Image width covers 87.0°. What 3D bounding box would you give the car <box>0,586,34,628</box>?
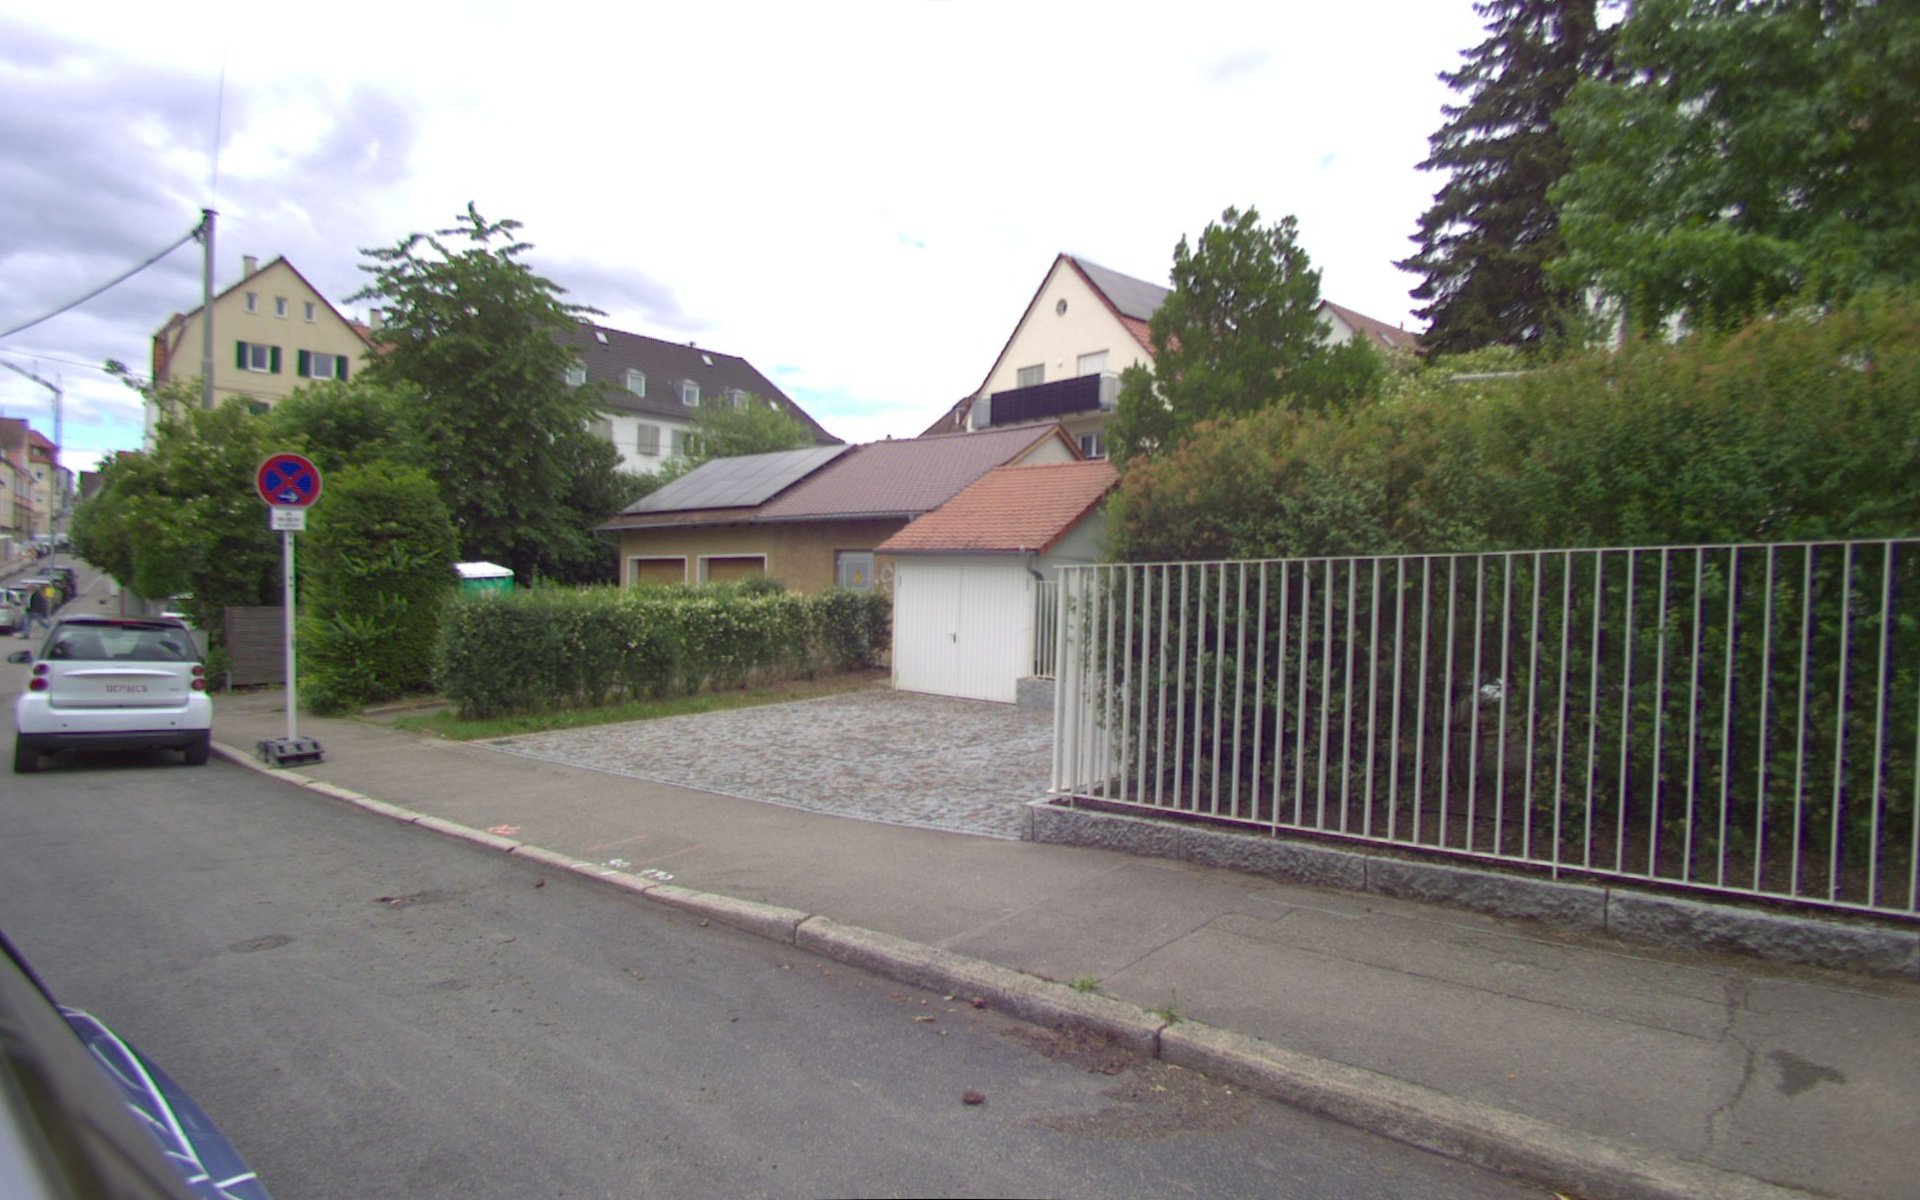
[{"bbox_3d":[-37.673,0.237,39.740,1.586,1.464,3.621,4,-1,-38],"label":"car"}]

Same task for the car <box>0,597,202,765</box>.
[{"bbox_3d":[-9.330,0.820,10.979,1.425,1.564,2.772,5,-4,-42],"label":"car"}]

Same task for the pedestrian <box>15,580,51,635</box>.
[{"bbox_3d":[-30.063,0.233,32.822,0.644,1.773,0.811,1,2,44],"label":"pedestrian"}]

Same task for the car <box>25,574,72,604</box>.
[{"bbox_3d":[-48.864,-0.592,54.297,1.618,1.409,3.711,2,2,-39],"label":"car"}]

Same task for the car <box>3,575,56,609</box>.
[{"bbox_3d":[-46.609,-0.411,50.756,1.618,1.439,4.132,3,1,-39],"label":"car"}]

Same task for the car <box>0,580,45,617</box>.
[{"bbox_3d":[-43.183,-0.091,46.178,1.779,1.491,4.338,2,2,-38],"label":"car"}]

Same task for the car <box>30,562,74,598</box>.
[{"bbox_3d":[-52.121,-1.163,58.134,1.727,1.810,4.157,2,2,-41],"label":"car"}]

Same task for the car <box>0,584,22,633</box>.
[{"bbox_3d":[-34.574,0.259,35.727,1.781,1.672,4.159,2,0,-39],"label":"car"}]

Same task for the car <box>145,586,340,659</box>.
[{"bbox_3d":[-19.002,0.531,27.096,1.811,1.667,4.510,0,2,4],"label":"car"}]
